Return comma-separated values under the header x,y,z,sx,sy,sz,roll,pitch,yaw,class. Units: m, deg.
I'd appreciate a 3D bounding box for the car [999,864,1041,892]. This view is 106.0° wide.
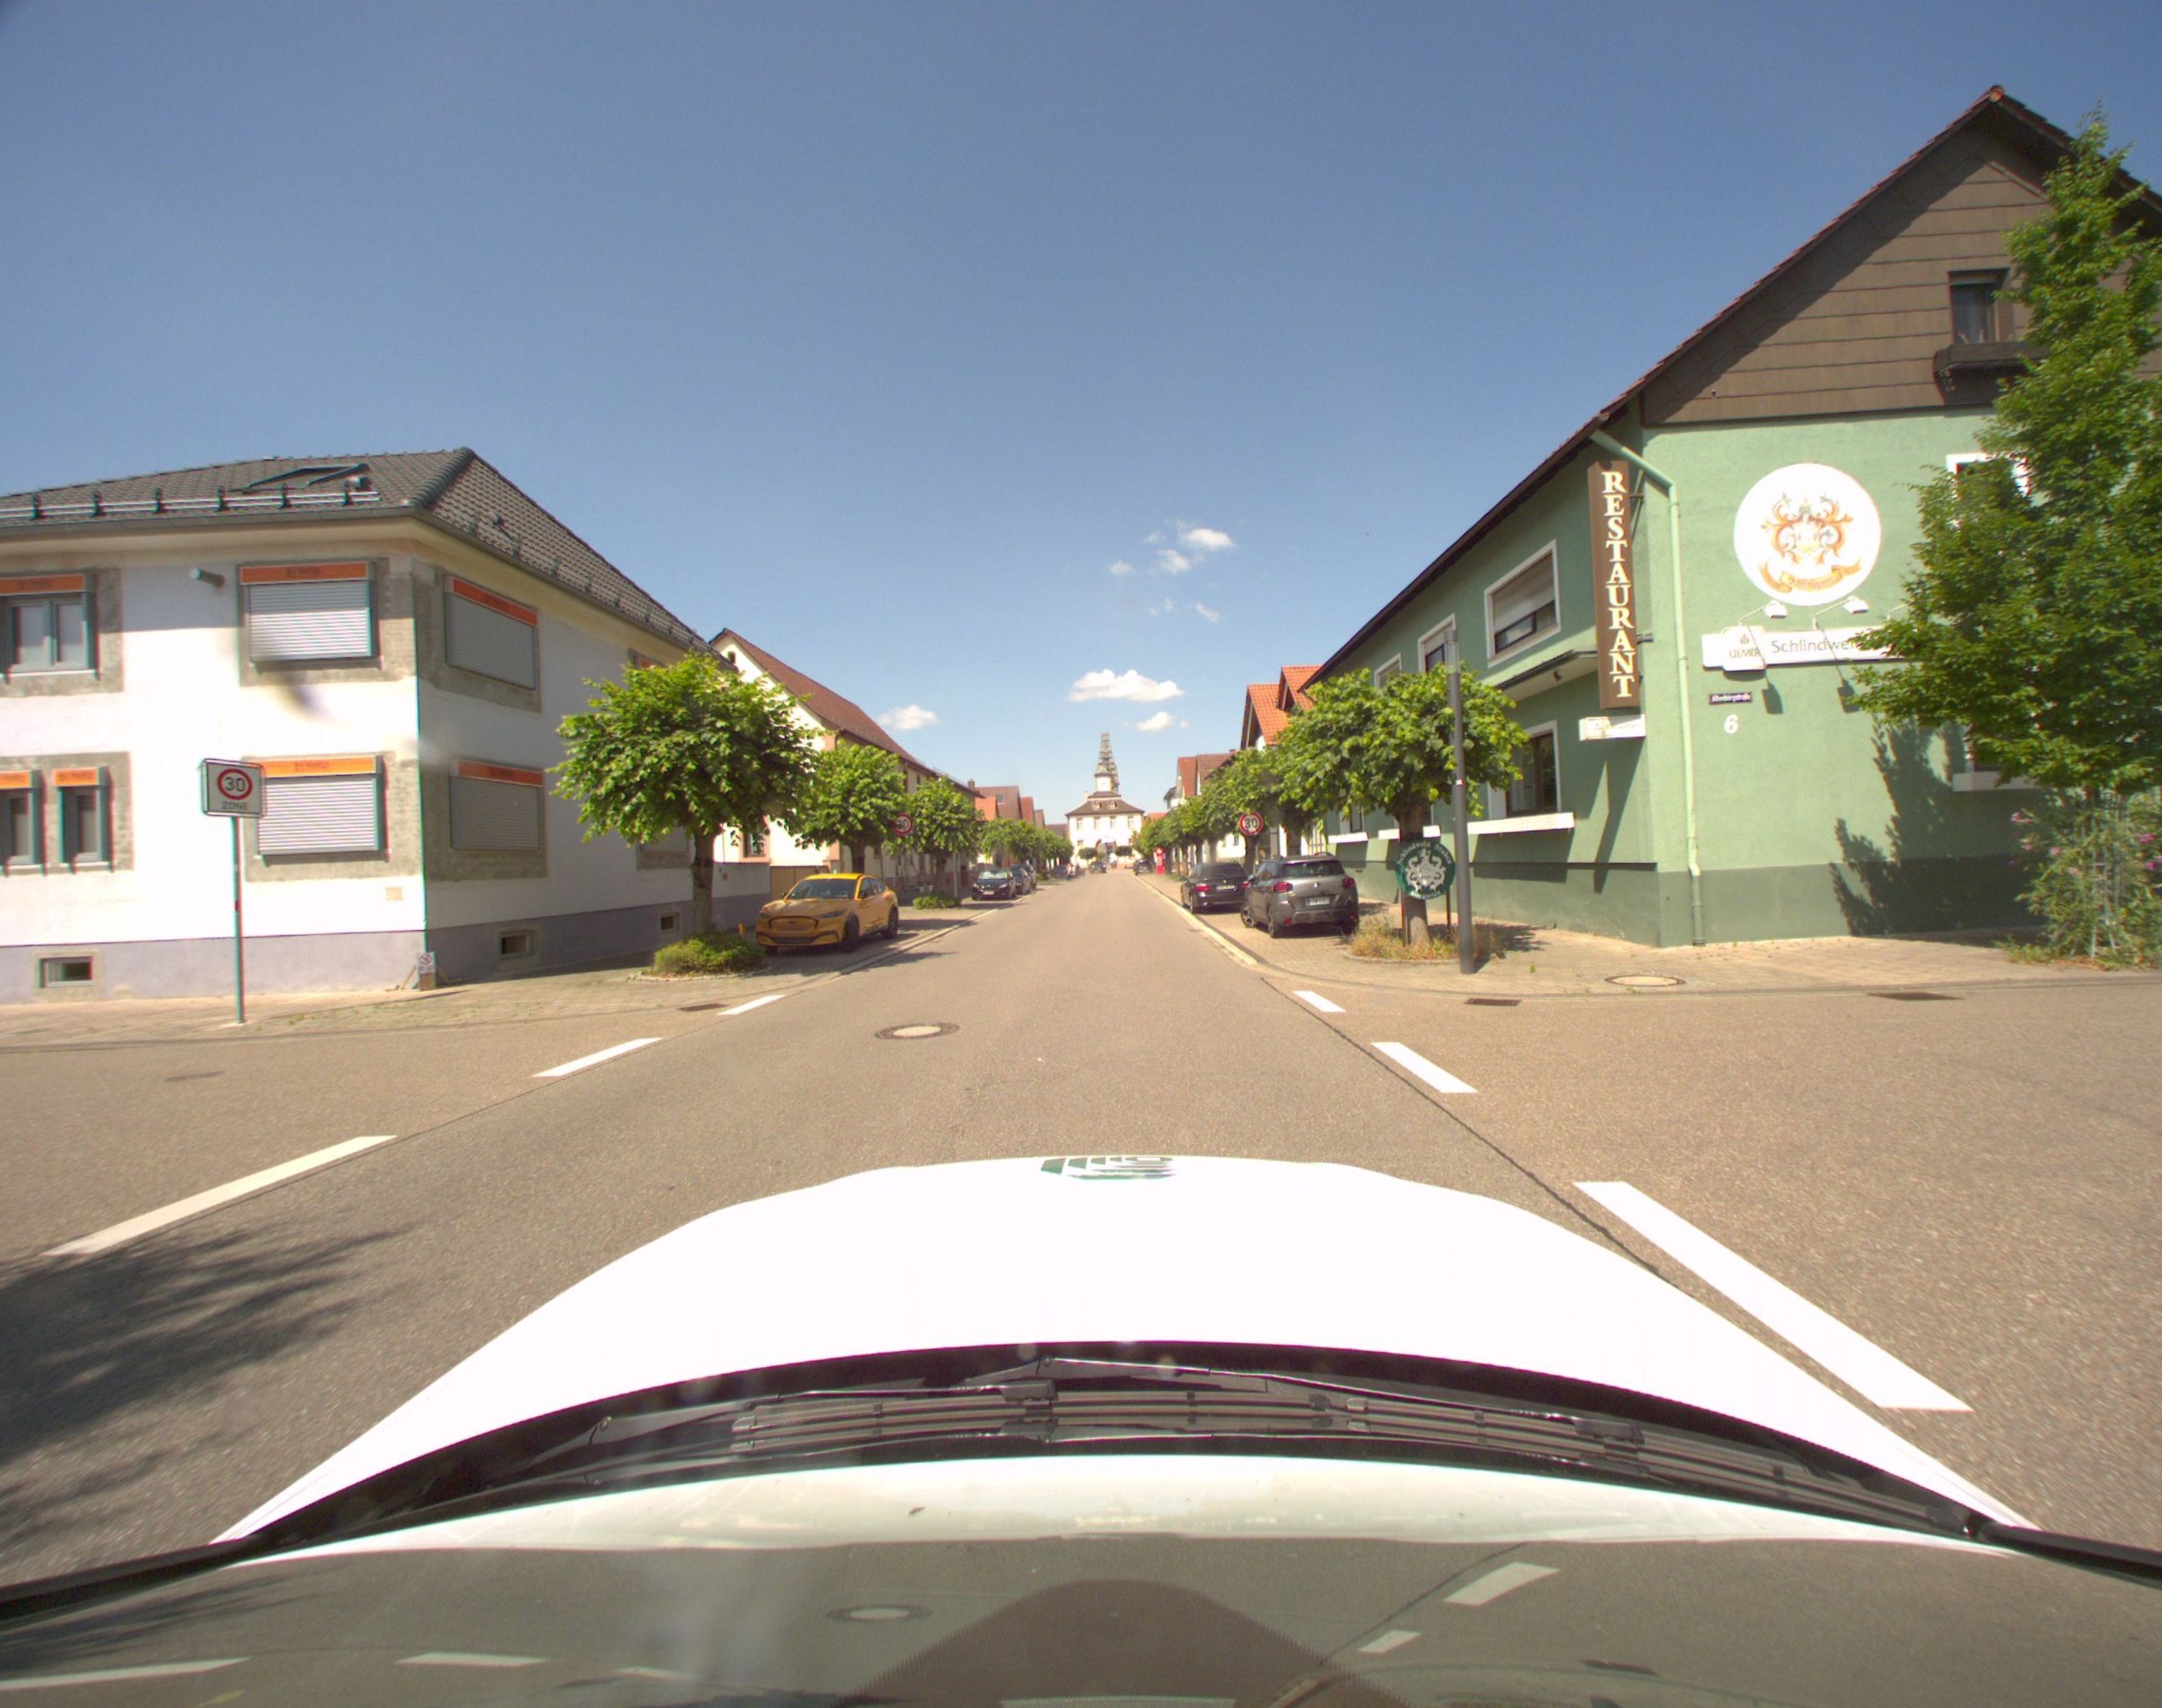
x,y,z,sx,sy,sz,roll,pitch,yaw,class
-3.842,1.499,52.189,1.985,1.611,4.692,-2,-1,3,car

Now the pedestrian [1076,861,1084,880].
x,y,z,sx,sy,sz,roll,pitch,yaw,class
-0.096,1.827,90.326,0.831,2.014,0.885,0,-2,-6,pedestrian

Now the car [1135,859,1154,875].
x,y,z,sx,sy,sz,roll,pitch,yaw,class
6.788,1.415,87.807,1.830,1.555,4.316,-4,-1,3,car

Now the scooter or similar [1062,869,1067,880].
x,y,z,sx,sy,sz,roll,pitch,yaw,class
-1.458,1.844,73.193,0.326,1.003,0.243,-3,-1,39,scooter or similar

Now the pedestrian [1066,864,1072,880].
x,y,z,sx,sy,sz,roll,pitch,yaw,class
-1.073,1.627,72.506,0.354,1.403,0.322,-3,-1,39,pedestrian

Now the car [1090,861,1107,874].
x,y,z,sx,sy,sz,roll,pitch,yaw,class
2.271,1.727,105.968,1.988,1.611,4.502,-1,-1,-2,car

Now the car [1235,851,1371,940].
x,y,z,sx,sy,sz,roll,pitch,yaw,class
4.567,0.802,17.378,1.831,1.608,4.000,-2,-1,1,car

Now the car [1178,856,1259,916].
x,y,z,sx,sy,sz,roll,pitch,yaw,class
4.113,0.914,25.004,1.830,1.555,4.315,-4,-1,2,car

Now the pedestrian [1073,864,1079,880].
x,y,z,sx,sy,sz,roll,pitch,yaw,class
-0.486,1.647,73.630,0.354,1.403,0.322,-3,-1,39,pedestrian

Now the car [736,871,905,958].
x,y,z,sx,sy,sz,roll,pitch,yaw,class
-5.536,1.220,18.051,1.985,1.611,4.692,-1,-1,3,car

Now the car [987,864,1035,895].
x,y,z,sx,sy,sz,roll,pitch,yaw,class
-3.839,1.407,45.243,1.985,1.611,4.692,-1,-1,3,car

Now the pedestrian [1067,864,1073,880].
x,y,z,sx,sy,sz,roll,pitch,yaw,class
-0.961,1.646,73.384,0.354,1.403,0.322,-3,-1,39,pedestrian

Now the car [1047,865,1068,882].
x,y,z,sx,sy,sz,roll,pitch,yaw,class
-2.352,1.947,82.354,1.750,1.555,4.023,-2,-1,3,car

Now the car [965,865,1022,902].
x,y,z,sx,sy,sz,roll,pitch,yaw,class
-4.172,1.359,39.548,1.985,1.611,4.693,-1,0,3,car
